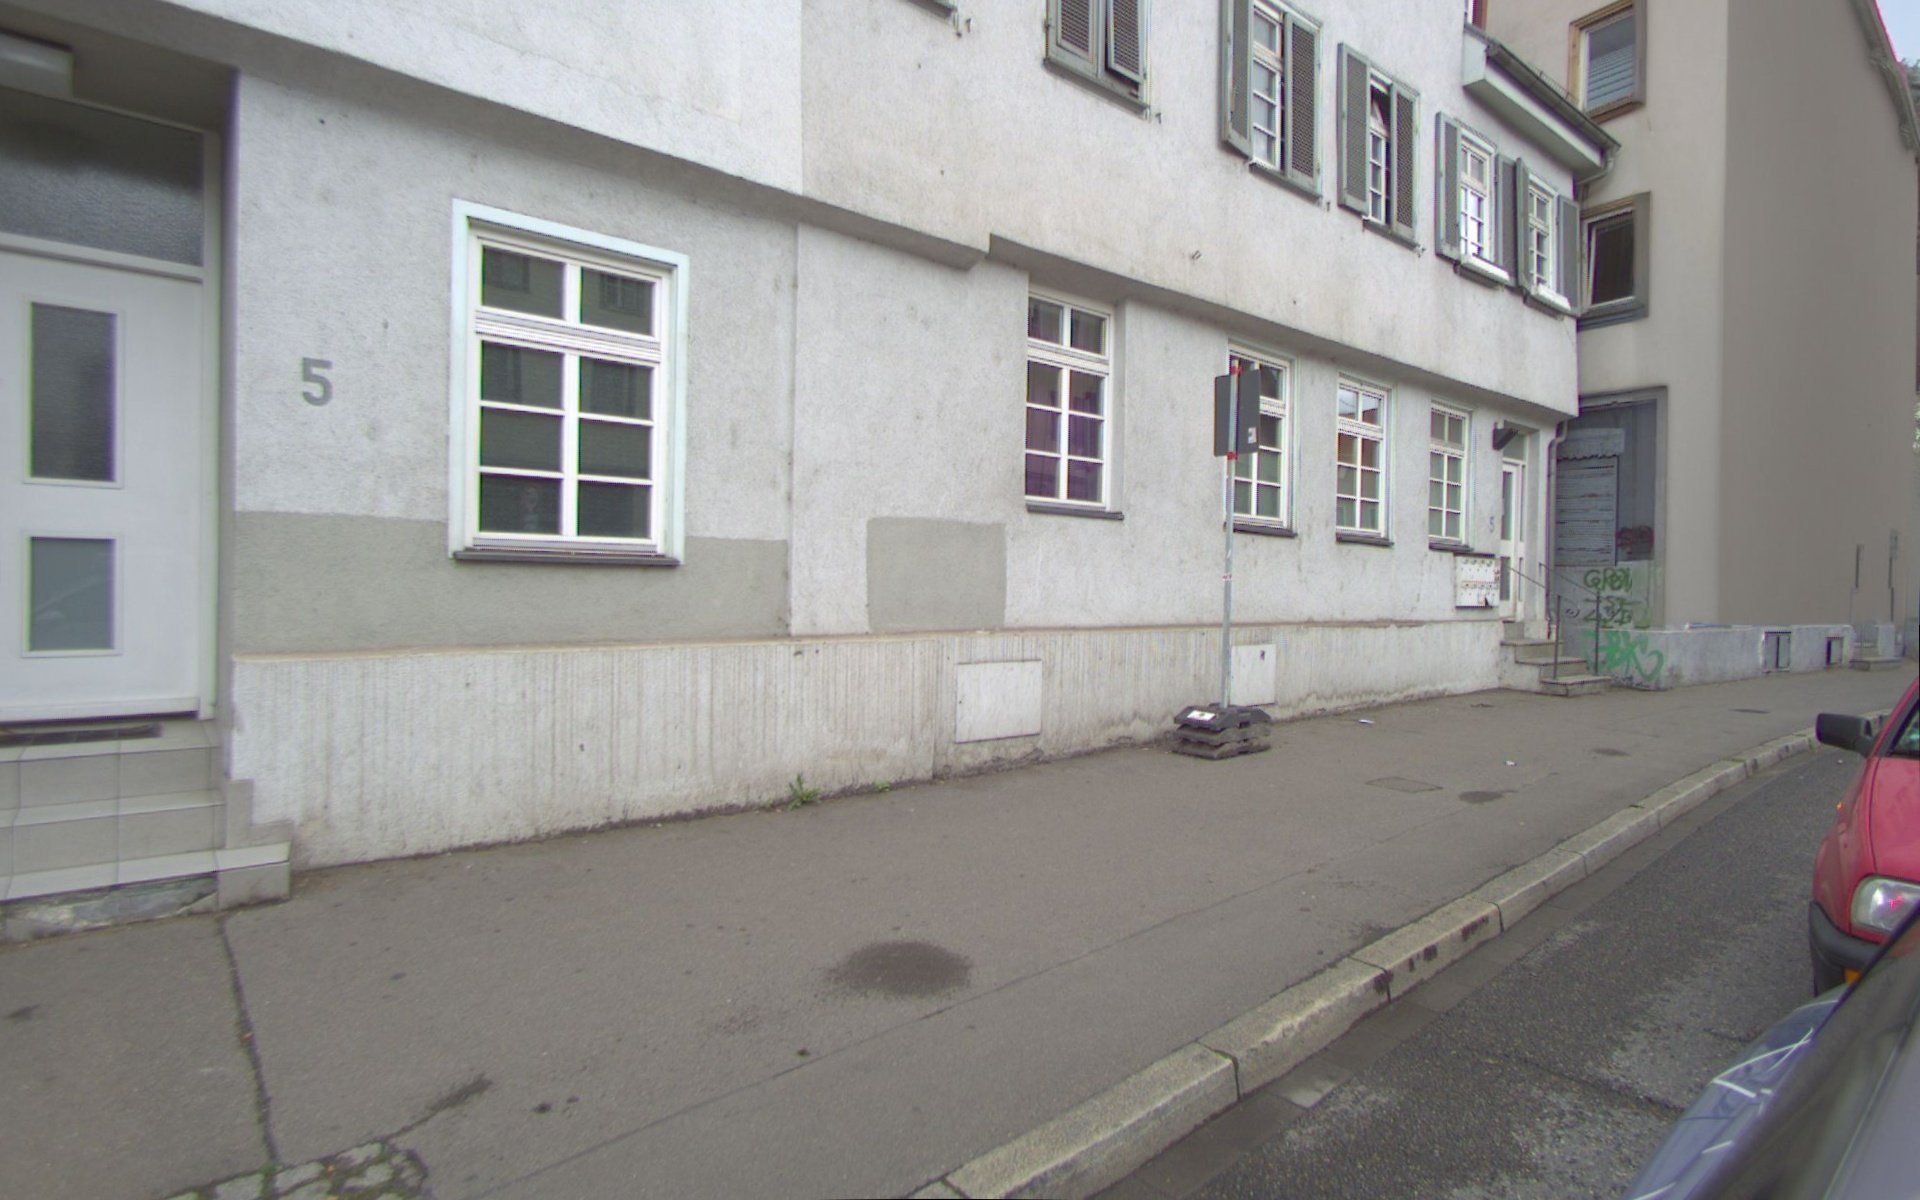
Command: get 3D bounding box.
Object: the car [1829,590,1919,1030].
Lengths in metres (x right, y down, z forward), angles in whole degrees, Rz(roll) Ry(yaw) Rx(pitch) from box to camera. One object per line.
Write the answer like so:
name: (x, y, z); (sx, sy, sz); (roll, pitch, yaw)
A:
car: (5.052, 0.706, 4.149); (3.950, 1.445, 1.684); (0, 1, -41)
